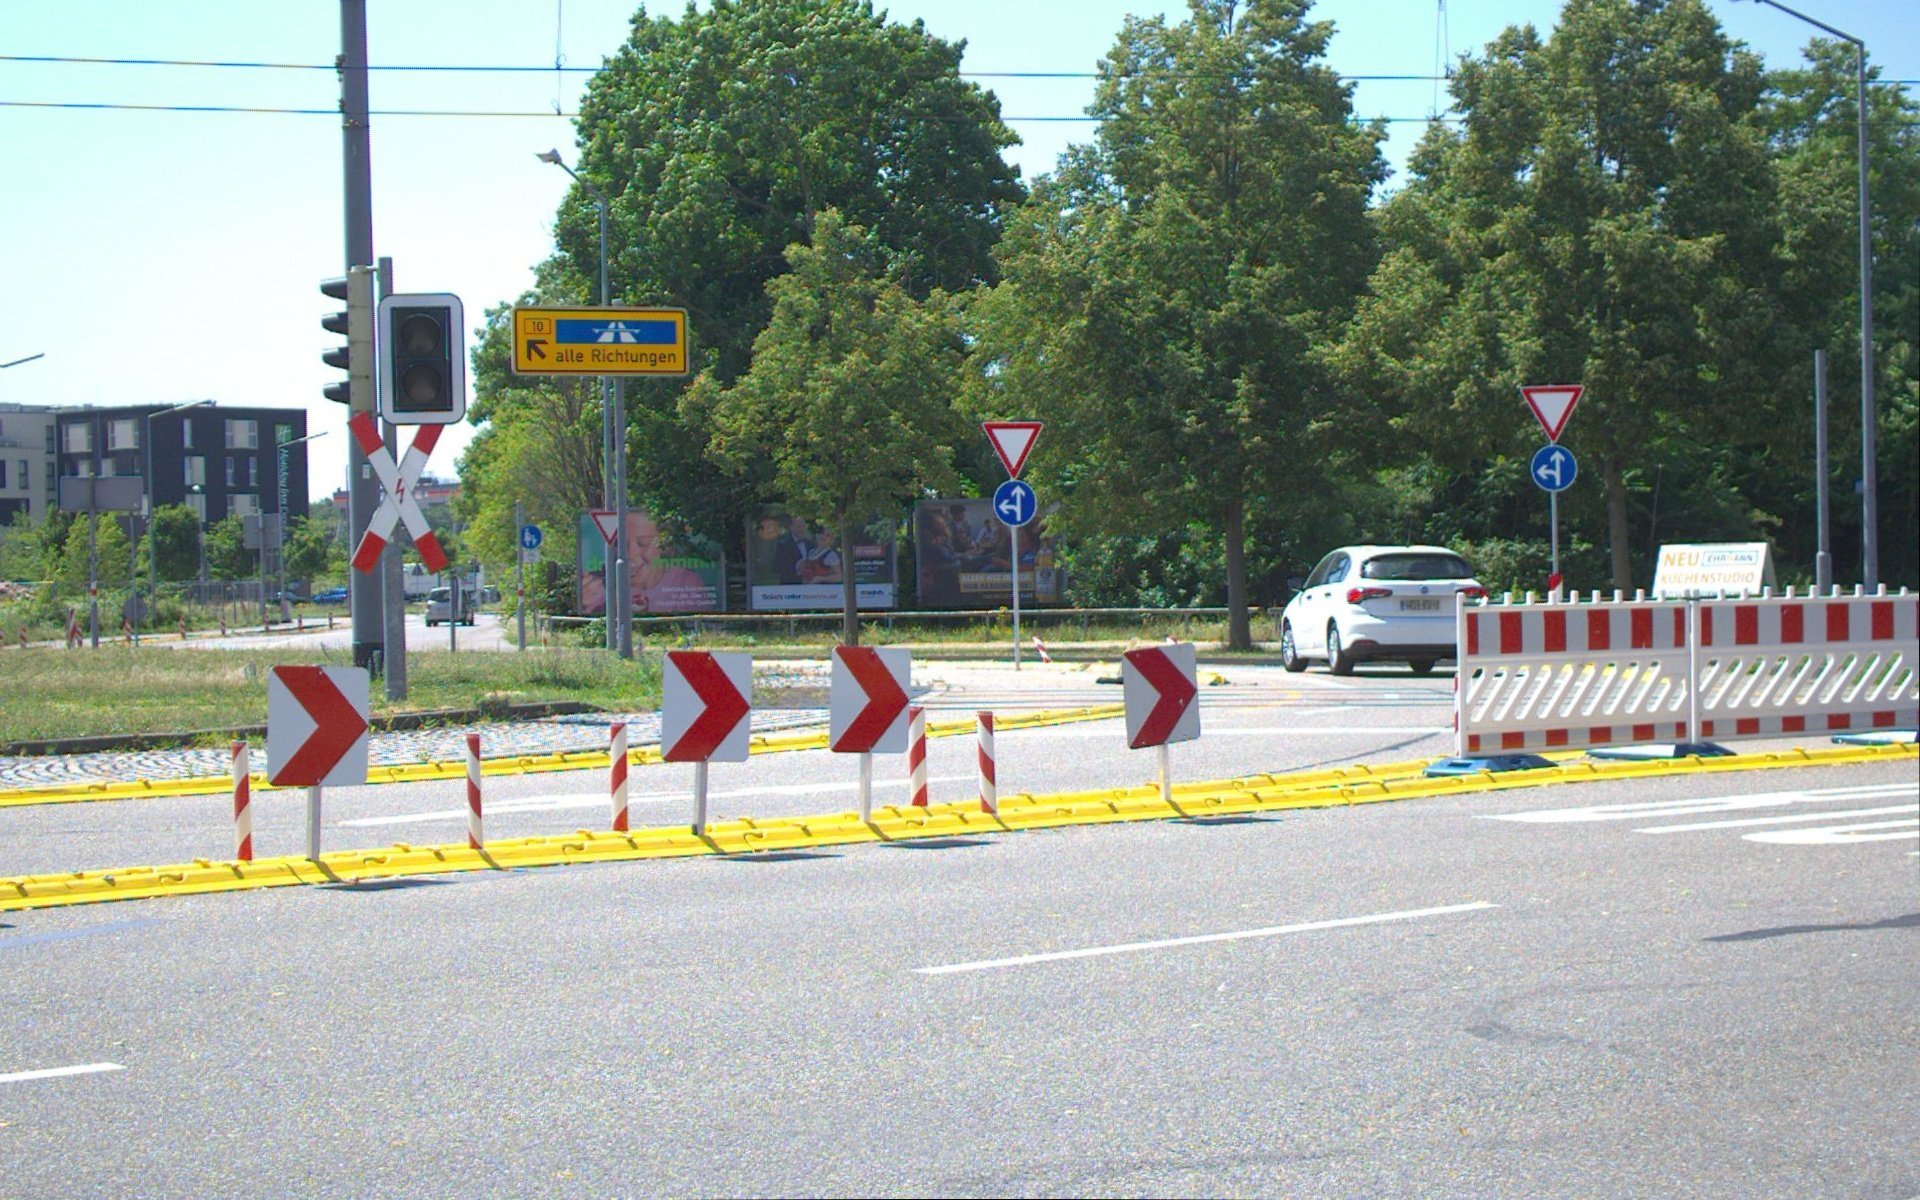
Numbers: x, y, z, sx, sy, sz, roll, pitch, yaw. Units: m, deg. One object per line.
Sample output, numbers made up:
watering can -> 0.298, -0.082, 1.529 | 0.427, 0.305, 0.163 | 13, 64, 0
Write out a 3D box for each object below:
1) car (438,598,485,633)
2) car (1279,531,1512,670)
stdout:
car -> -20.393, 0.623, 140.674 | 1.658, 1.368, 3.032 | -1, 1, -4
car -> 4.984, -0.015, 39.895 | 1.993, 1.481, 4.367 | -1, 1, -2
